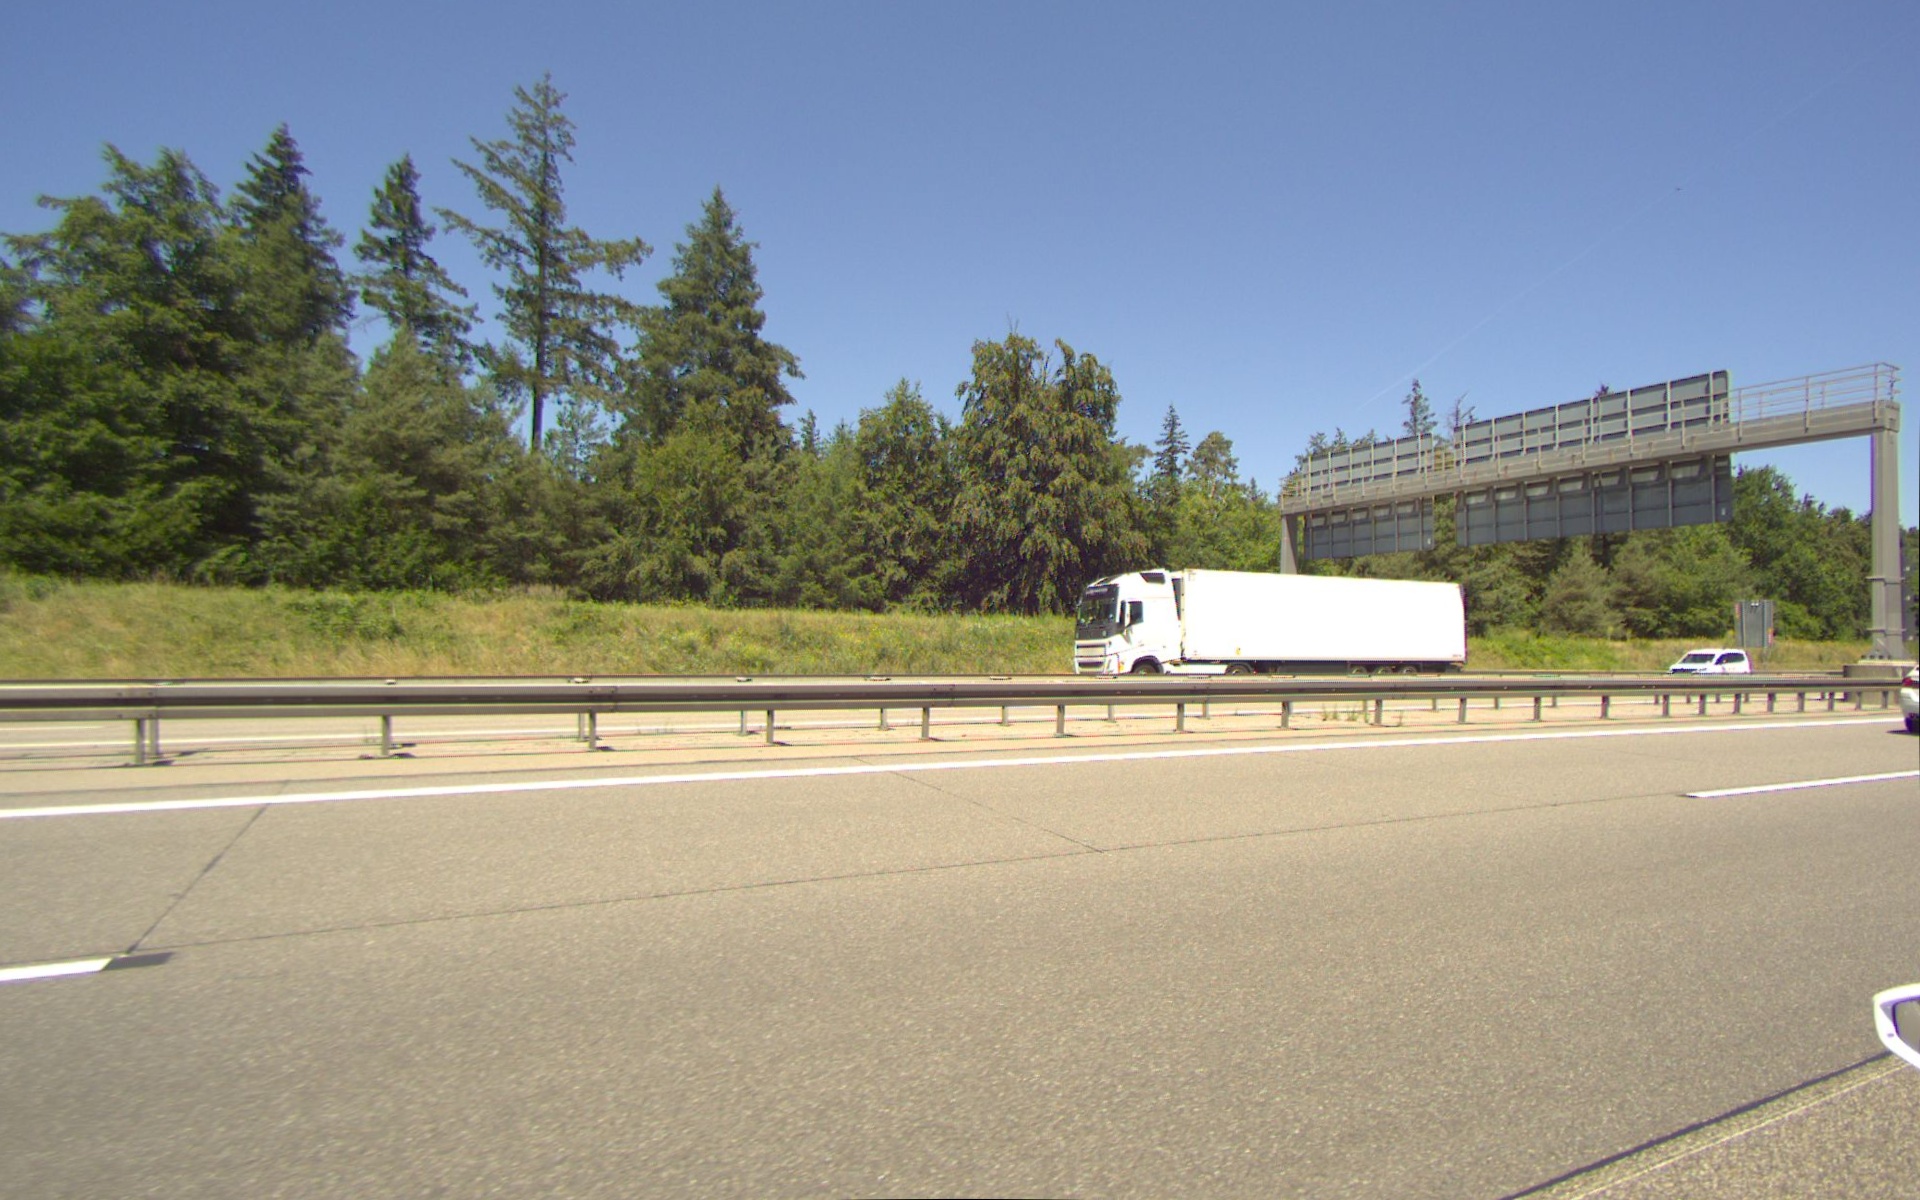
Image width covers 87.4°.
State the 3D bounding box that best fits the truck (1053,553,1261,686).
[{"bbox_3d":[6.582,0.726,33.620,6.133,4.071,3.204,2,-1,-26],"label":"truck"}]

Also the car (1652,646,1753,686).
[{"bbox_3d":[35.890,3.163,48.518,4.928,1.773,1.986,2,-1,-28],"label":"car"}]

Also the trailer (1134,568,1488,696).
[{"bbox_3d":[13.170,1.287,36.869,14.170,4.095,3.204,2,-1,-26],"label":"trailer"}]

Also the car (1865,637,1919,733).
[{"bbox_3d":[18.077,1.490,17.322,5.336,1.523,1.956,2,-1,-28],"label":"car"}]
